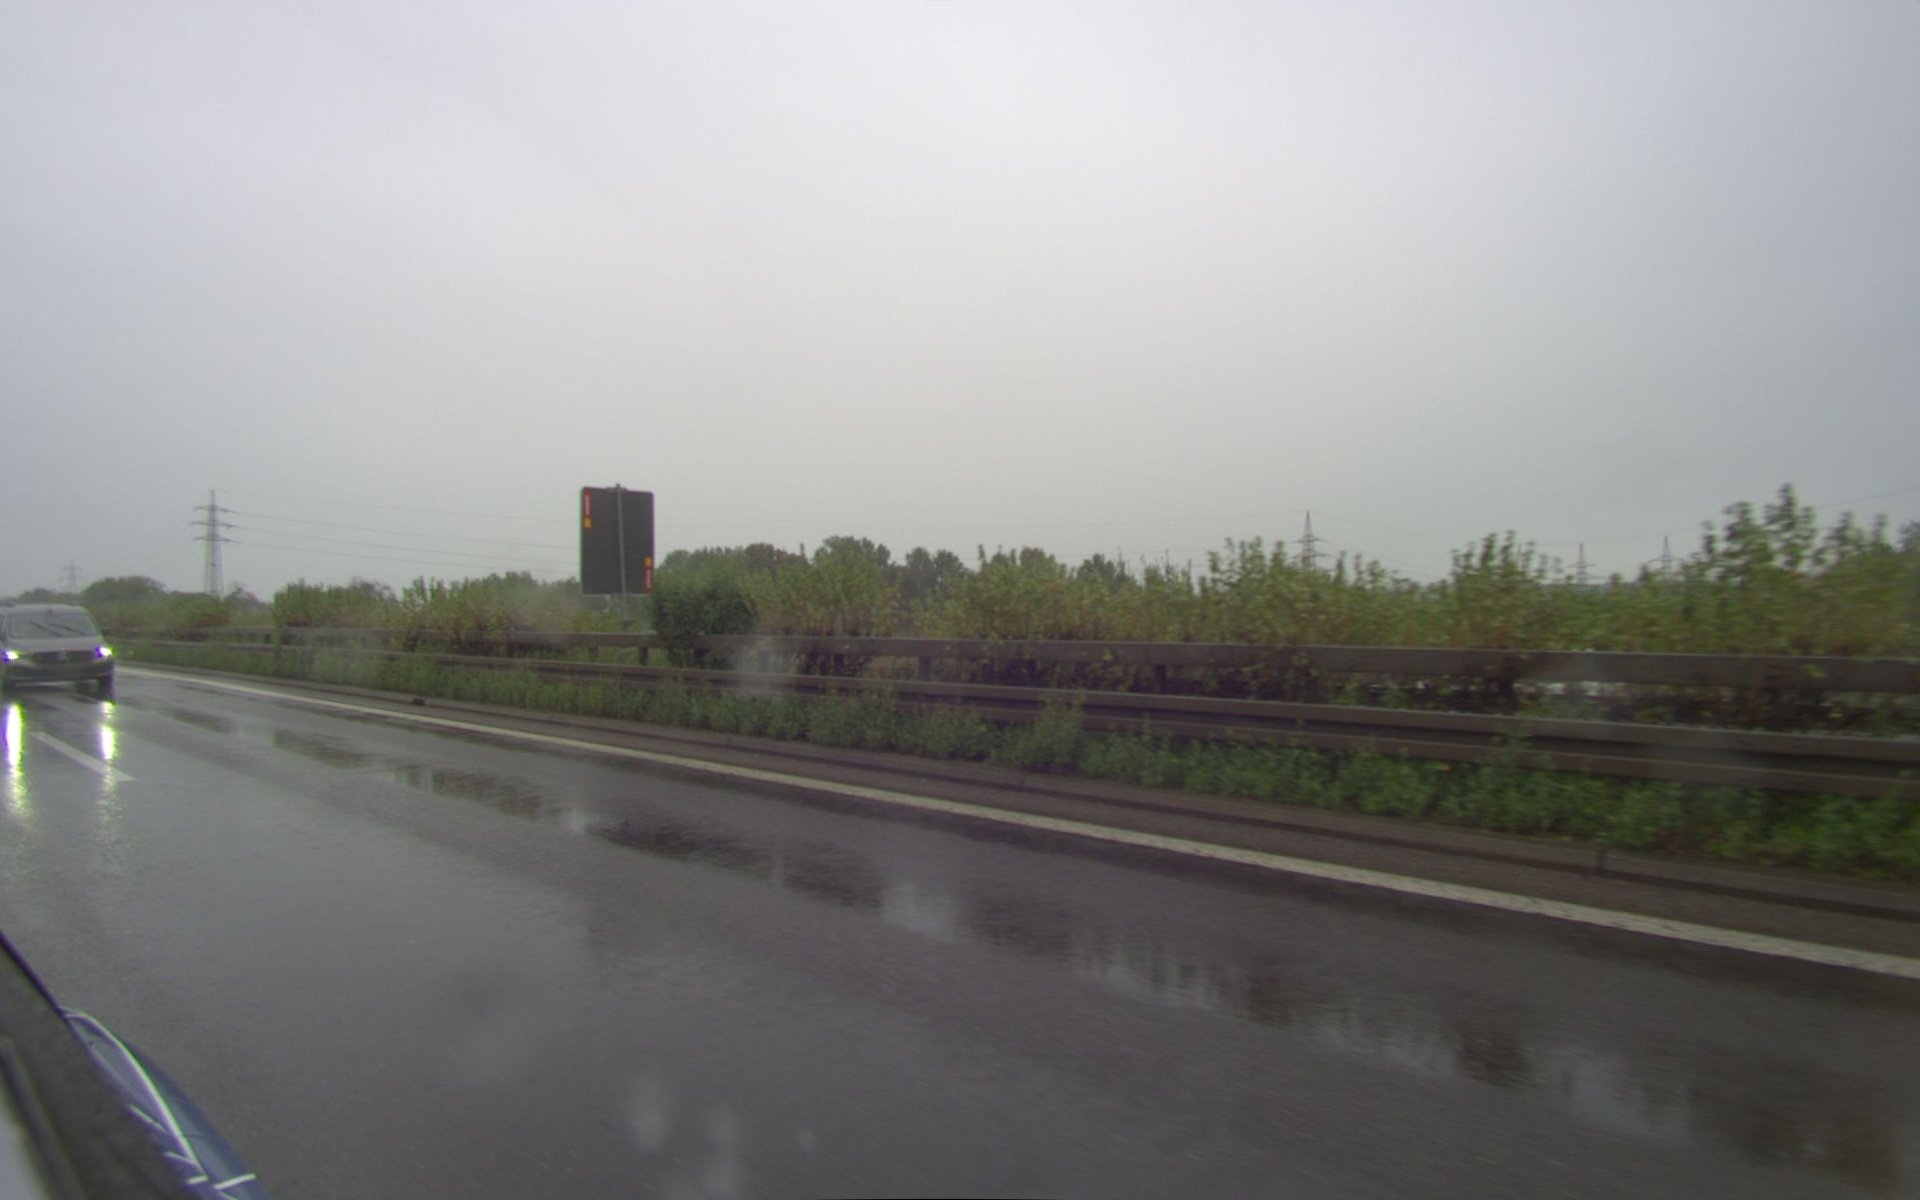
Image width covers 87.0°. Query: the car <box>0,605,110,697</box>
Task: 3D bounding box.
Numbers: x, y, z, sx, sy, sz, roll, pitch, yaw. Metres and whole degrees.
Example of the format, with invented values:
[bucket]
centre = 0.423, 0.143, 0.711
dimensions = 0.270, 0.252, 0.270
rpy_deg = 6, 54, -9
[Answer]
[car]
centre = -19.995, 1.025, 21.859
dimensions = 4.501, 1.787, 2.019
rpy_deg = -1, 0, 43
